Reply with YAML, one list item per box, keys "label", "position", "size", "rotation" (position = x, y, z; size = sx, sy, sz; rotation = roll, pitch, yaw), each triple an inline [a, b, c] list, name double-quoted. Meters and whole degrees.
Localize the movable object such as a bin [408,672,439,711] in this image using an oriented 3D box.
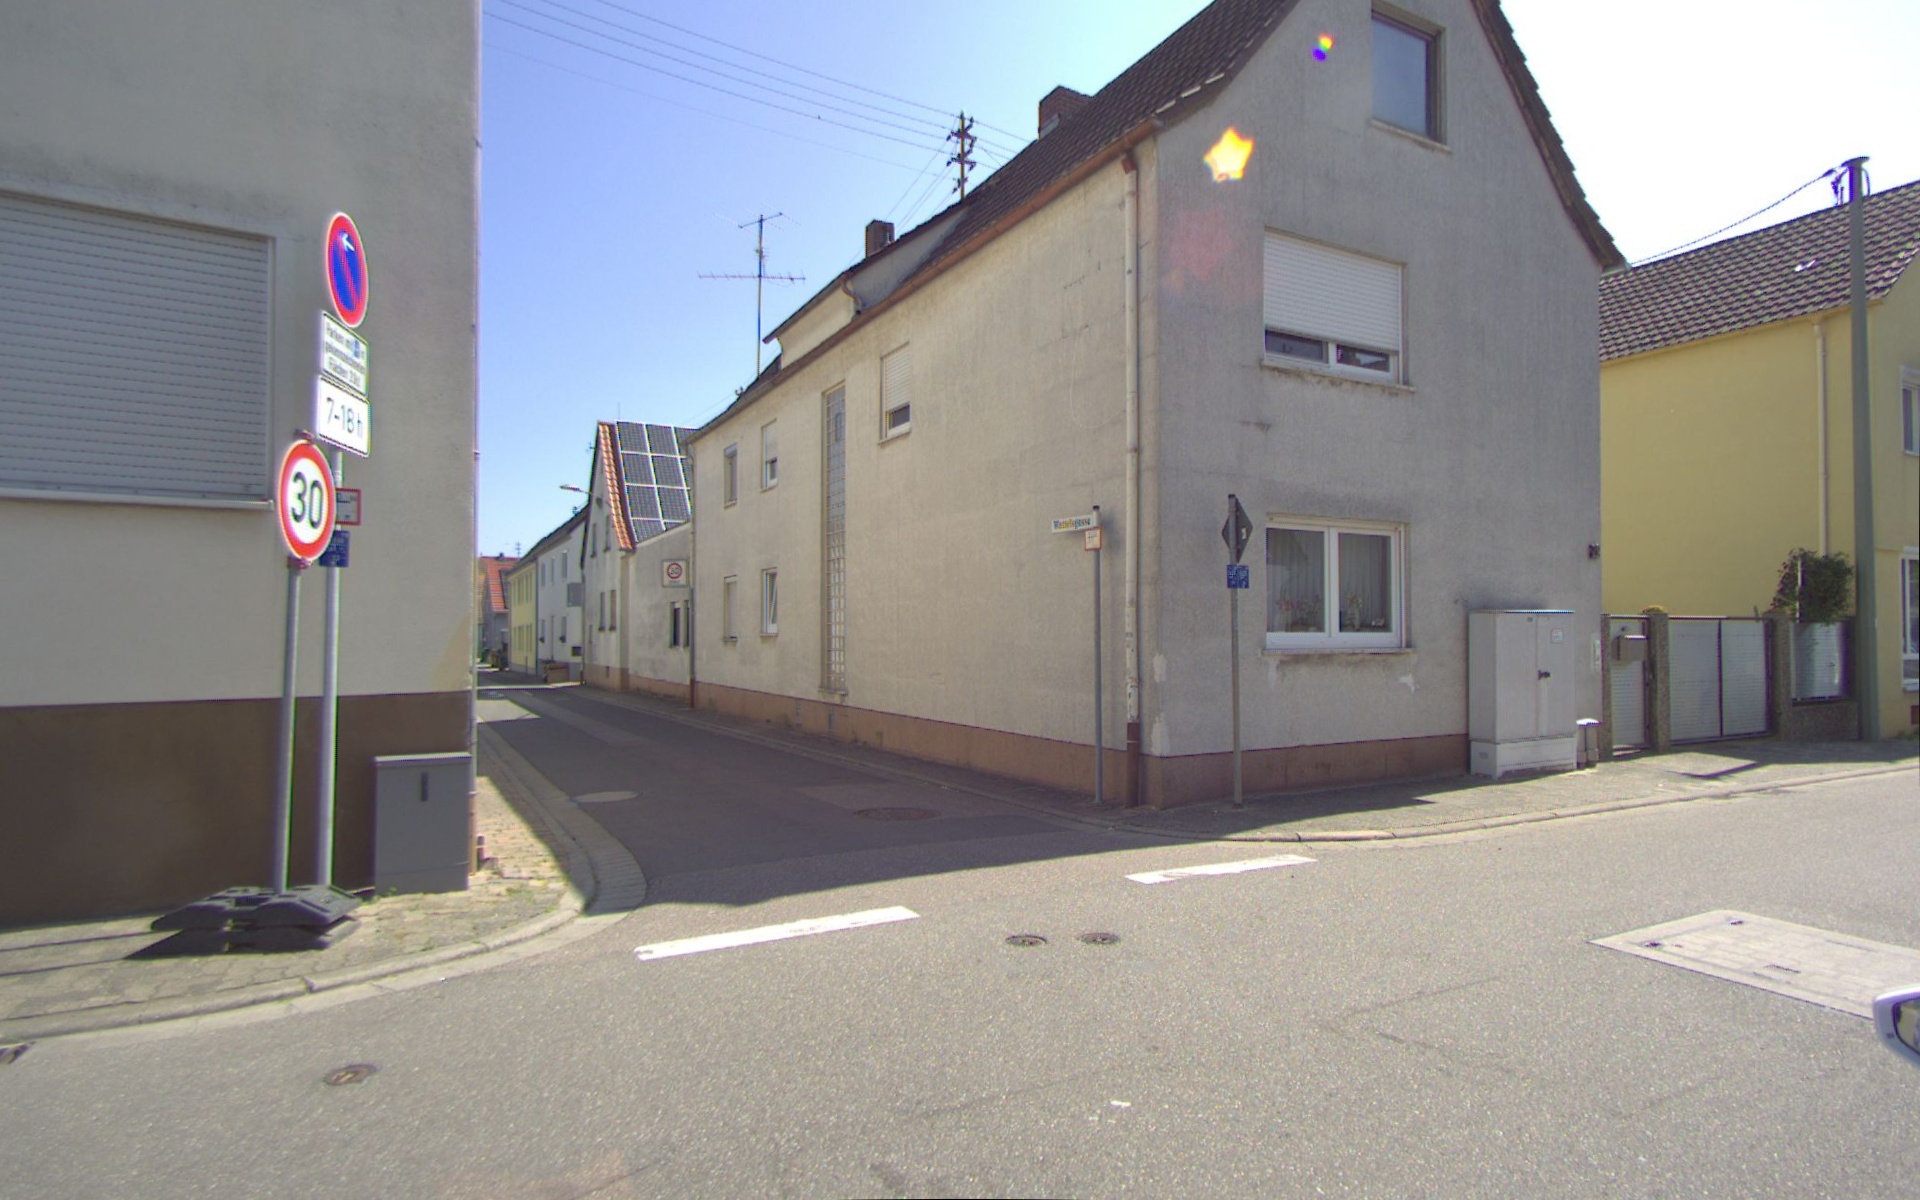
- label: "movable object such as a bin"
  position: [-12.252, 2.087, 22.936]
  size: [0.577, 0.855, 0.636]
  rotation: [3, -4, -29]
